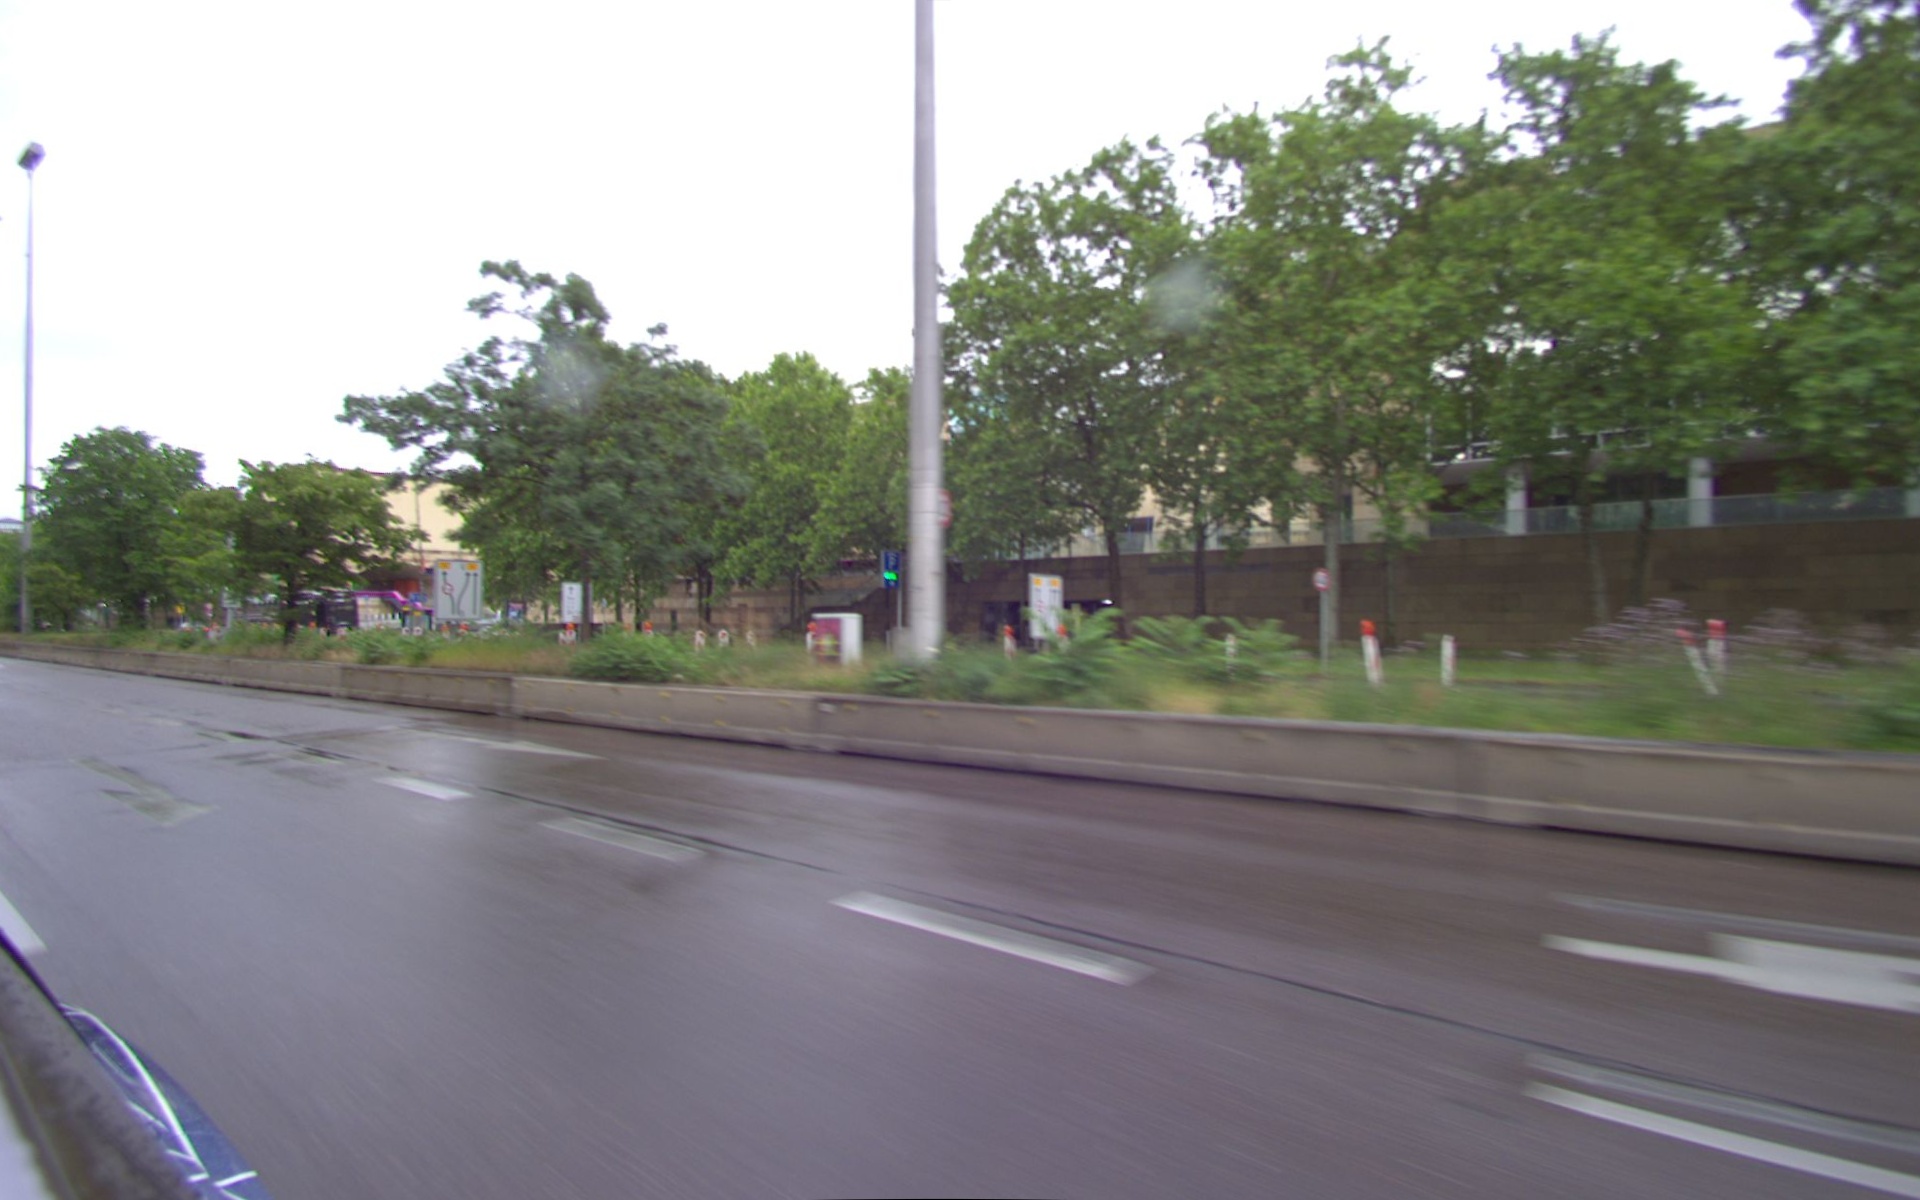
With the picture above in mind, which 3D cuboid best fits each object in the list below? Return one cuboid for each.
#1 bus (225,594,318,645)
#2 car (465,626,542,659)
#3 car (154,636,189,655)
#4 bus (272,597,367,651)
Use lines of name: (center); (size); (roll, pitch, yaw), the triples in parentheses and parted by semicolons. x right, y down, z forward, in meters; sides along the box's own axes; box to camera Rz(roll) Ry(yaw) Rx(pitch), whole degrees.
bus: (-56.591, 1.621, 82.930); (14.590, 3.840, 2.775); (-1, 0, 42)
car: (-23.047, 2.109, 51.030); (3.997, 1.541, 1.973); (0, -3, 40)
car: (-68.335, 3.919, 87.693); (3.207, 1.512, 1.578); (-1, -1, 35)
bus: (-54.807, 2.041, 86.336); (13.487, 4.284, 3.086); (-1, 0, 41)
